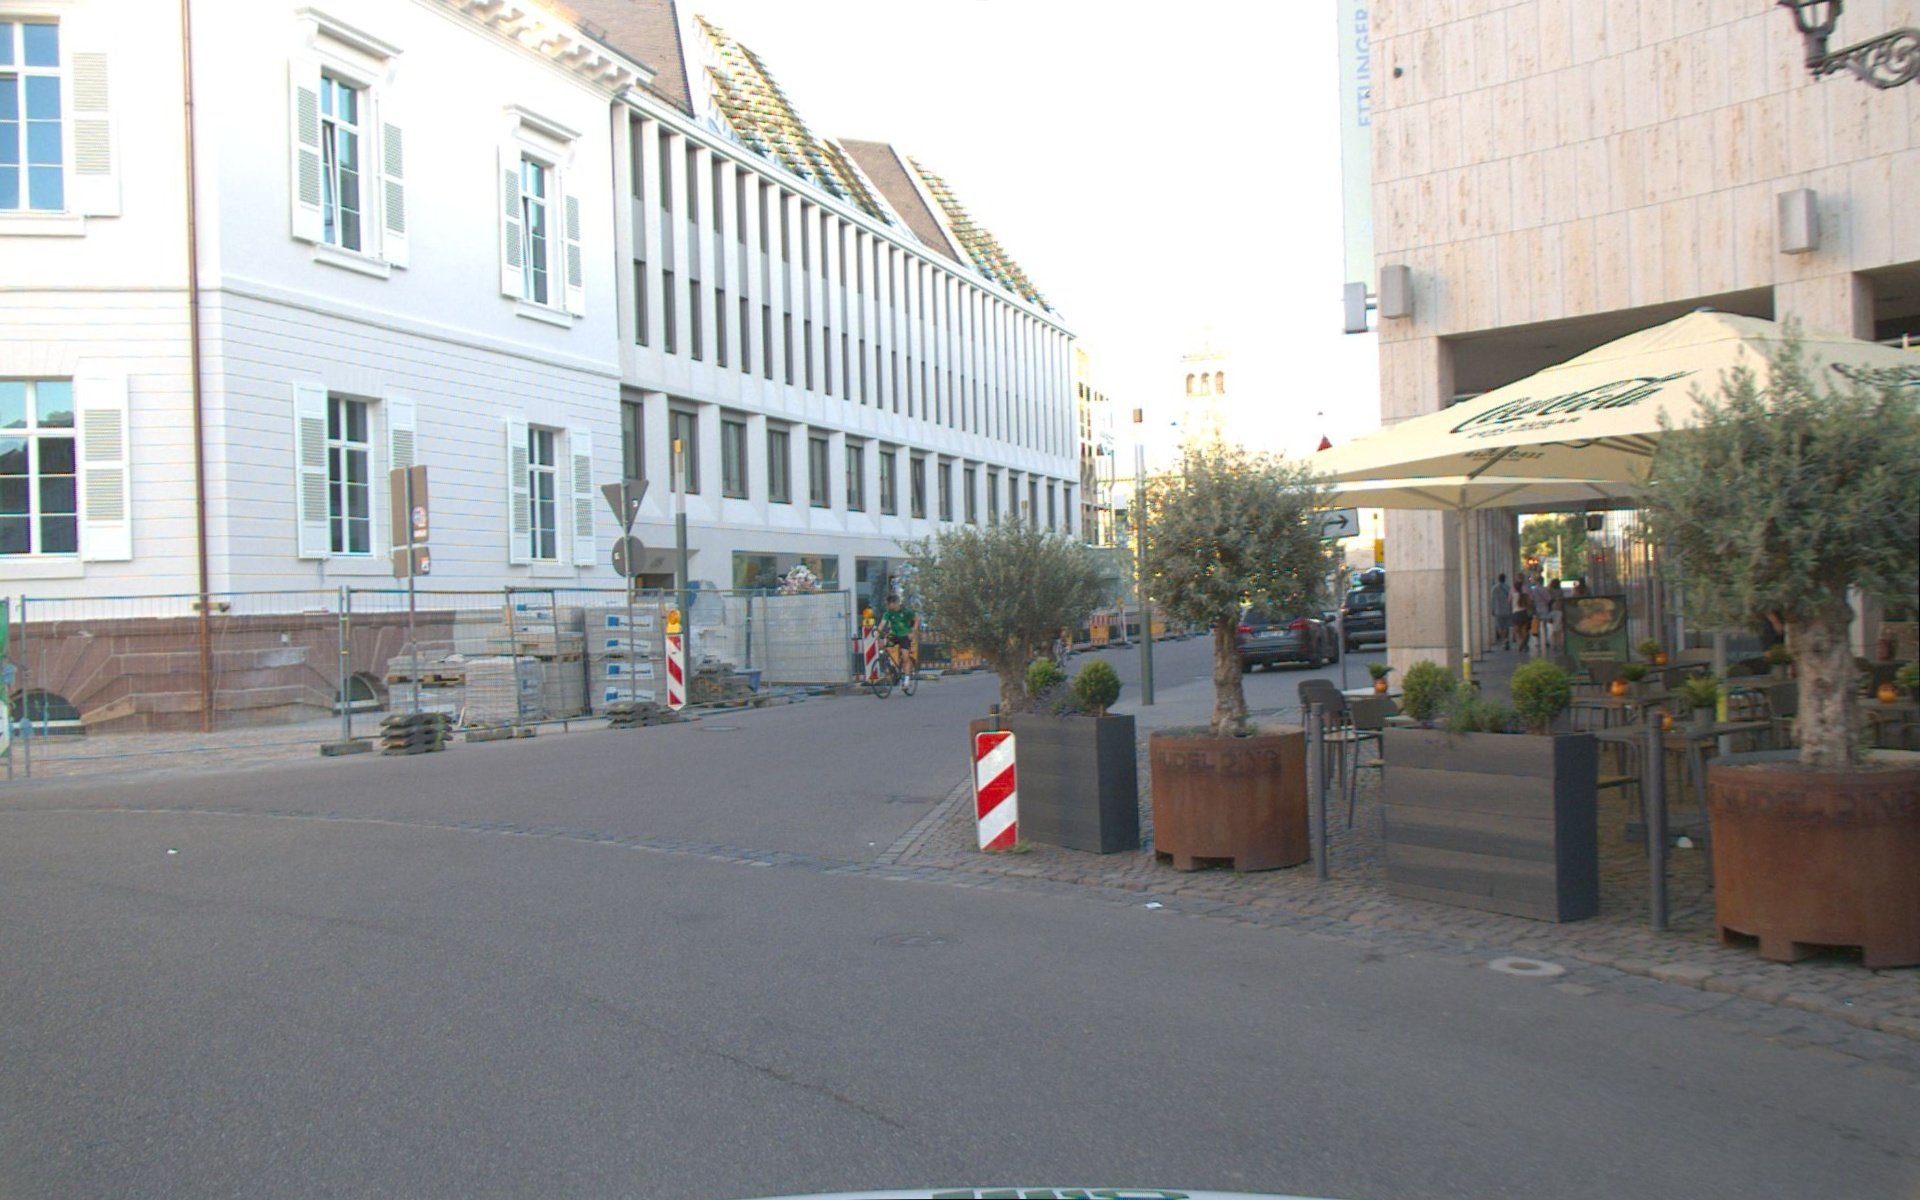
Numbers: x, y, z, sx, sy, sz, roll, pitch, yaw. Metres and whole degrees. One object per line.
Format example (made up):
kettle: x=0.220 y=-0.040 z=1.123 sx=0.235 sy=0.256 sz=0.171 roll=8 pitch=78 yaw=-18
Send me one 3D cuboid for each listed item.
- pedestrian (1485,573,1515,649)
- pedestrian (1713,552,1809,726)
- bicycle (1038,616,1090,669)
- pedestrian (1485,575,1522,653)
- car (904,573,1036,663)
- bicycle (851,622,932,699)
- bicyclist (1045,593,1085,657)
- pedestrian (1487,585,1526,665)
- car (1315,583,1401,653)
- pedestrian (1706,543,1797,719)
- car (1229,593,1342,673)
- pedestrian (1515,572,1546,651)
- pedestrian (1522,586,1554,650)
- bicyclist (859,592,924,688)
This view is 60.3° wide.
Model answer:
pedestrian: x=12.577 y=0.256 z=38.542 sx=0.578 sy=1.728 sz=0.696 roll=-2 pitch=0 yaw=17
pedestrian: x=8.444 y=0.400 z=17.431 sx=0.705 sy=1.776 sz=0.665 roll=-2 pitch=0 yaw=42
bicycle: x=2.610 y=1.036 z=41.238 sx=0.779 sy=1.238 sz=2.235 roll=-2 pitch=0 yaw=16
pedestrian: x=12.360 y=0.317 z=37.623 sx=0.749 sy=1.710 sz=0.877 roll=-2 pitch=1 yaw=18
car: x=0.397 y=0.507 z=49.881 sx=2.128 sy=2.513 sz=6.001 roll=-2 pitch=0 yaw=19
bicycle: x=-1.185 y=1.045 z=29.098 sx=0.779 sy=1.238 sz=2.235 roll=-2 pitch=0 yaw=14
bicyclist: x=2.622 y=0.613 z=41.263 sx=0.779 sy=1.559 sz=0.975 roll=-2 pitch=0 yaw=16
pedestrian: x=12.066 y=0.545 z=36.510 sx=0.749 sy=1.710 sz=0.877 roll=-2 pitch=1 yaw=18
car: x=10.713 y=0.457 z=44.299 sx=1.732 sy=1.666 sz=4.059 roll=-5 pitch=-1 yaw=19
pedestrian: x=8.724 y=0.335 z=18.229 sx=0.705 sy=1.894 sz=0.665 roll=-2 pitch=0 yaw=42
car: x=7.235 y=0.694 z=36.464 sx=1.758 sy=1.516 sz=4.194 roll=-5 pitch=-1 yaw=19
pedestrian: x=13.510 y=0.269 z=39.151 sx=0.620 sy=1.805 sz=0.775 roll=-2 pitch=1 yaw=18
pedestrian: x=12.948 y=0.399 z=37.041 sx=0.620 sy=1.369 sz=0.775 roll=-2 pitch=1 yaw=18
bicyclist: x=-1.193 y=0.691 z=29.108 sx=0.779 sy=1.631 sz=1.232 roll=-2 pitch=0 yaw=14
